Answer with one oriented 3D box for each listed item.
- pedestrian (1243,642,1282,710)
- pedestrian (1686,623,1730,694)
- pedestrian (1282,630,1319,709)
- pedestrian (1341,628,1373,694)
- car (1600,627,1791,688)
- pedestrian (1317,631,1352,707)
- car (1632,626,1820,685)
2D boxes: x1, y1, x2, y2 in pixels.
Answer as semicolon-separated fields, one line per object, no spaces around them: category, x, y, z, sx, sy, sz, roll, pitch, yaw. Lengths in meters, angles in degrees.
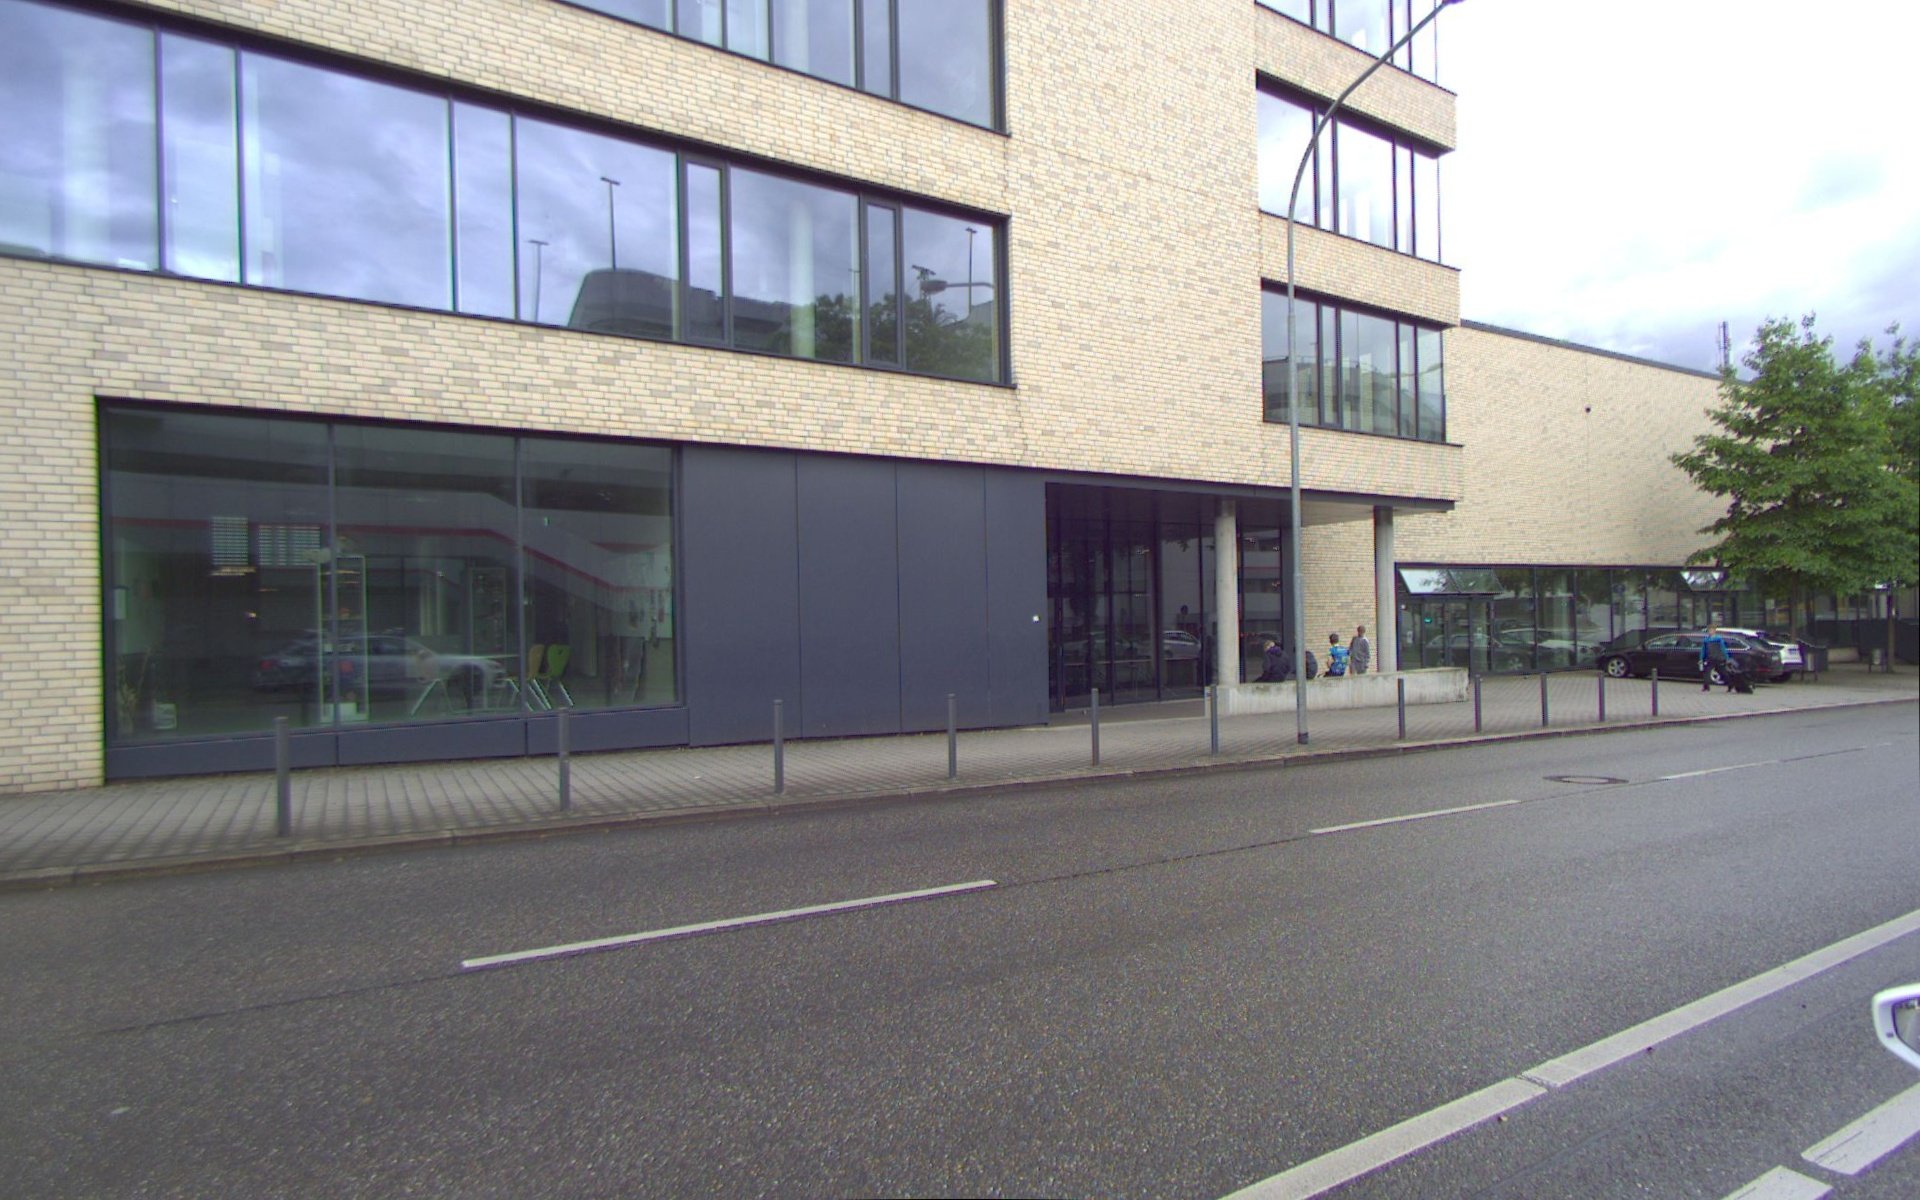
pedestrian;5.728;1.427;19.034;0.416;1.231;0.546;2;0;-27
pedestrian;19.010;1.477;25.530;0.696;1.737;0.632;2;0;-27
pedestrian;6.618;1.345;19.526;0.459;1.495;0.446;2;0;-35
pedestrian;9.153;1.392;23.159;0.523;1.495;0.438;2;0;-35
car;21.629;1.643;29.671;1.981;1.515;4.147;2;0;-36
pedestrian;7.557;1.384;20.246;0.459;1.495;0.446;2;0;-35
car;23.506;1.662;30.979;1.975;1.568;4.159;2;0;-28
